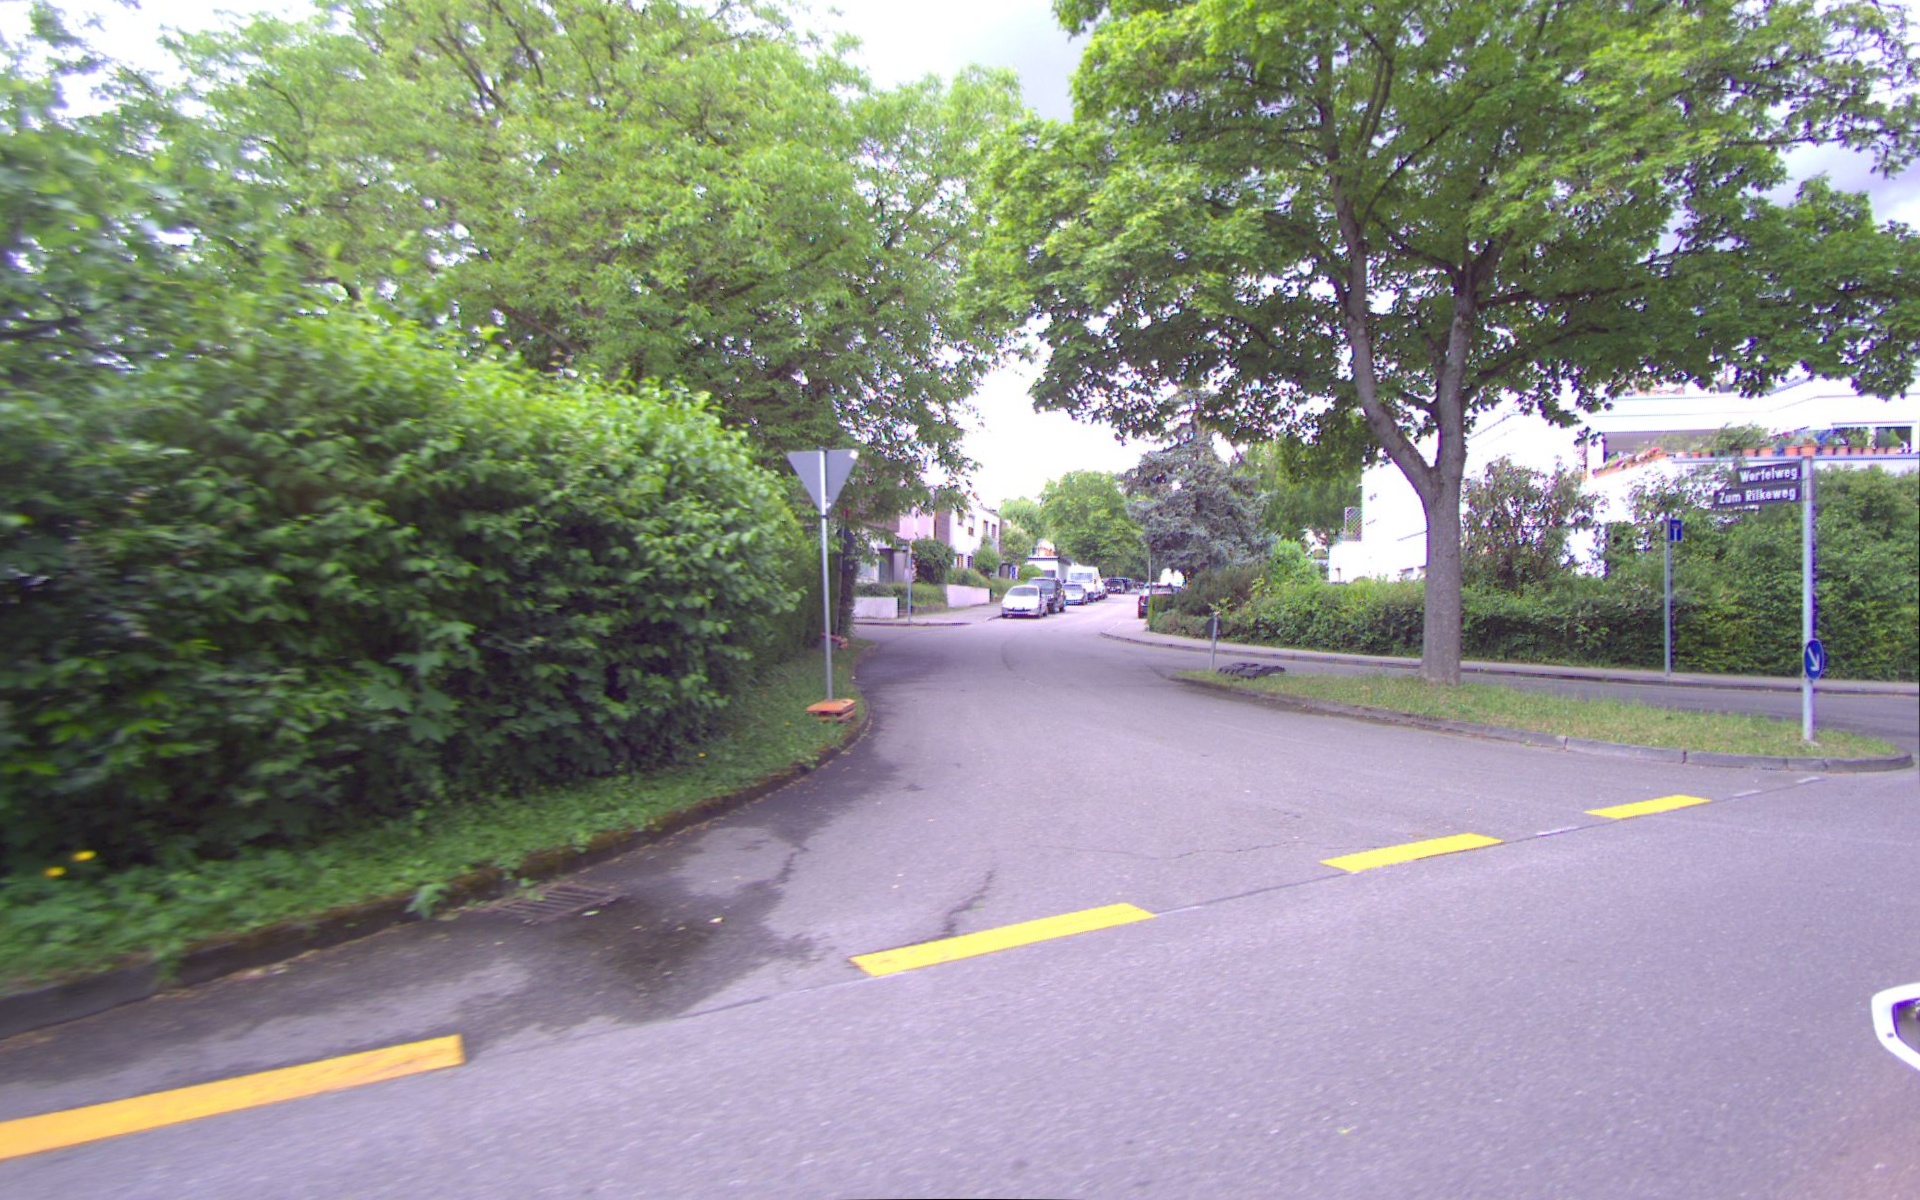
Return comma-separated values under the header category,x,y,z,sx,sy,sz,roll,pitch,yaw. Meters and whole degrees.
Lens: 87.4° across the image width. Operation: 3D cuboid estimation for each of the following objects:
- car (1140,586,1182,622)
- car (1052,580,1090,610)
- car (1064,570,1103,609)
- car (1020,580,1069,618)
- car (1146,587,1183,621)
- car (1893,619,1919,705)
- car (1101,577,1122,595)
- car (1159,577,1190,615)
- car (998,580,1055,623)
category,x,y,z,sx,sy,sz,roll,pitch,yaw
car,9.384,0.171,46.702,1.724,1.575,4.002,1,1,14
car,7.202,-0.293,64.771,1.724,1.739,4.002,1,-2,16
car,8.856,-0.716,71.547,1.991,2.473,4.901,1,-2,16
car,4.321,-0.031,50.857,1.724,1.739,4.002,1,-2,16
car,10.716,0.241,52.578,1.724,1.574,4.003,1,-2,14
car,17.221,1.017,15.460,3.984,1.353,1.756,1,0,3
car,16.134,-1.453,106.836,1.724,1.739,4.002,1,-2,16
car,19.018,-0.310,88.920,2.403,3.038,6.877,1,-2,14
car,3.052,0.099,45.339,1.724,1.739,4.002,1,-2,16
